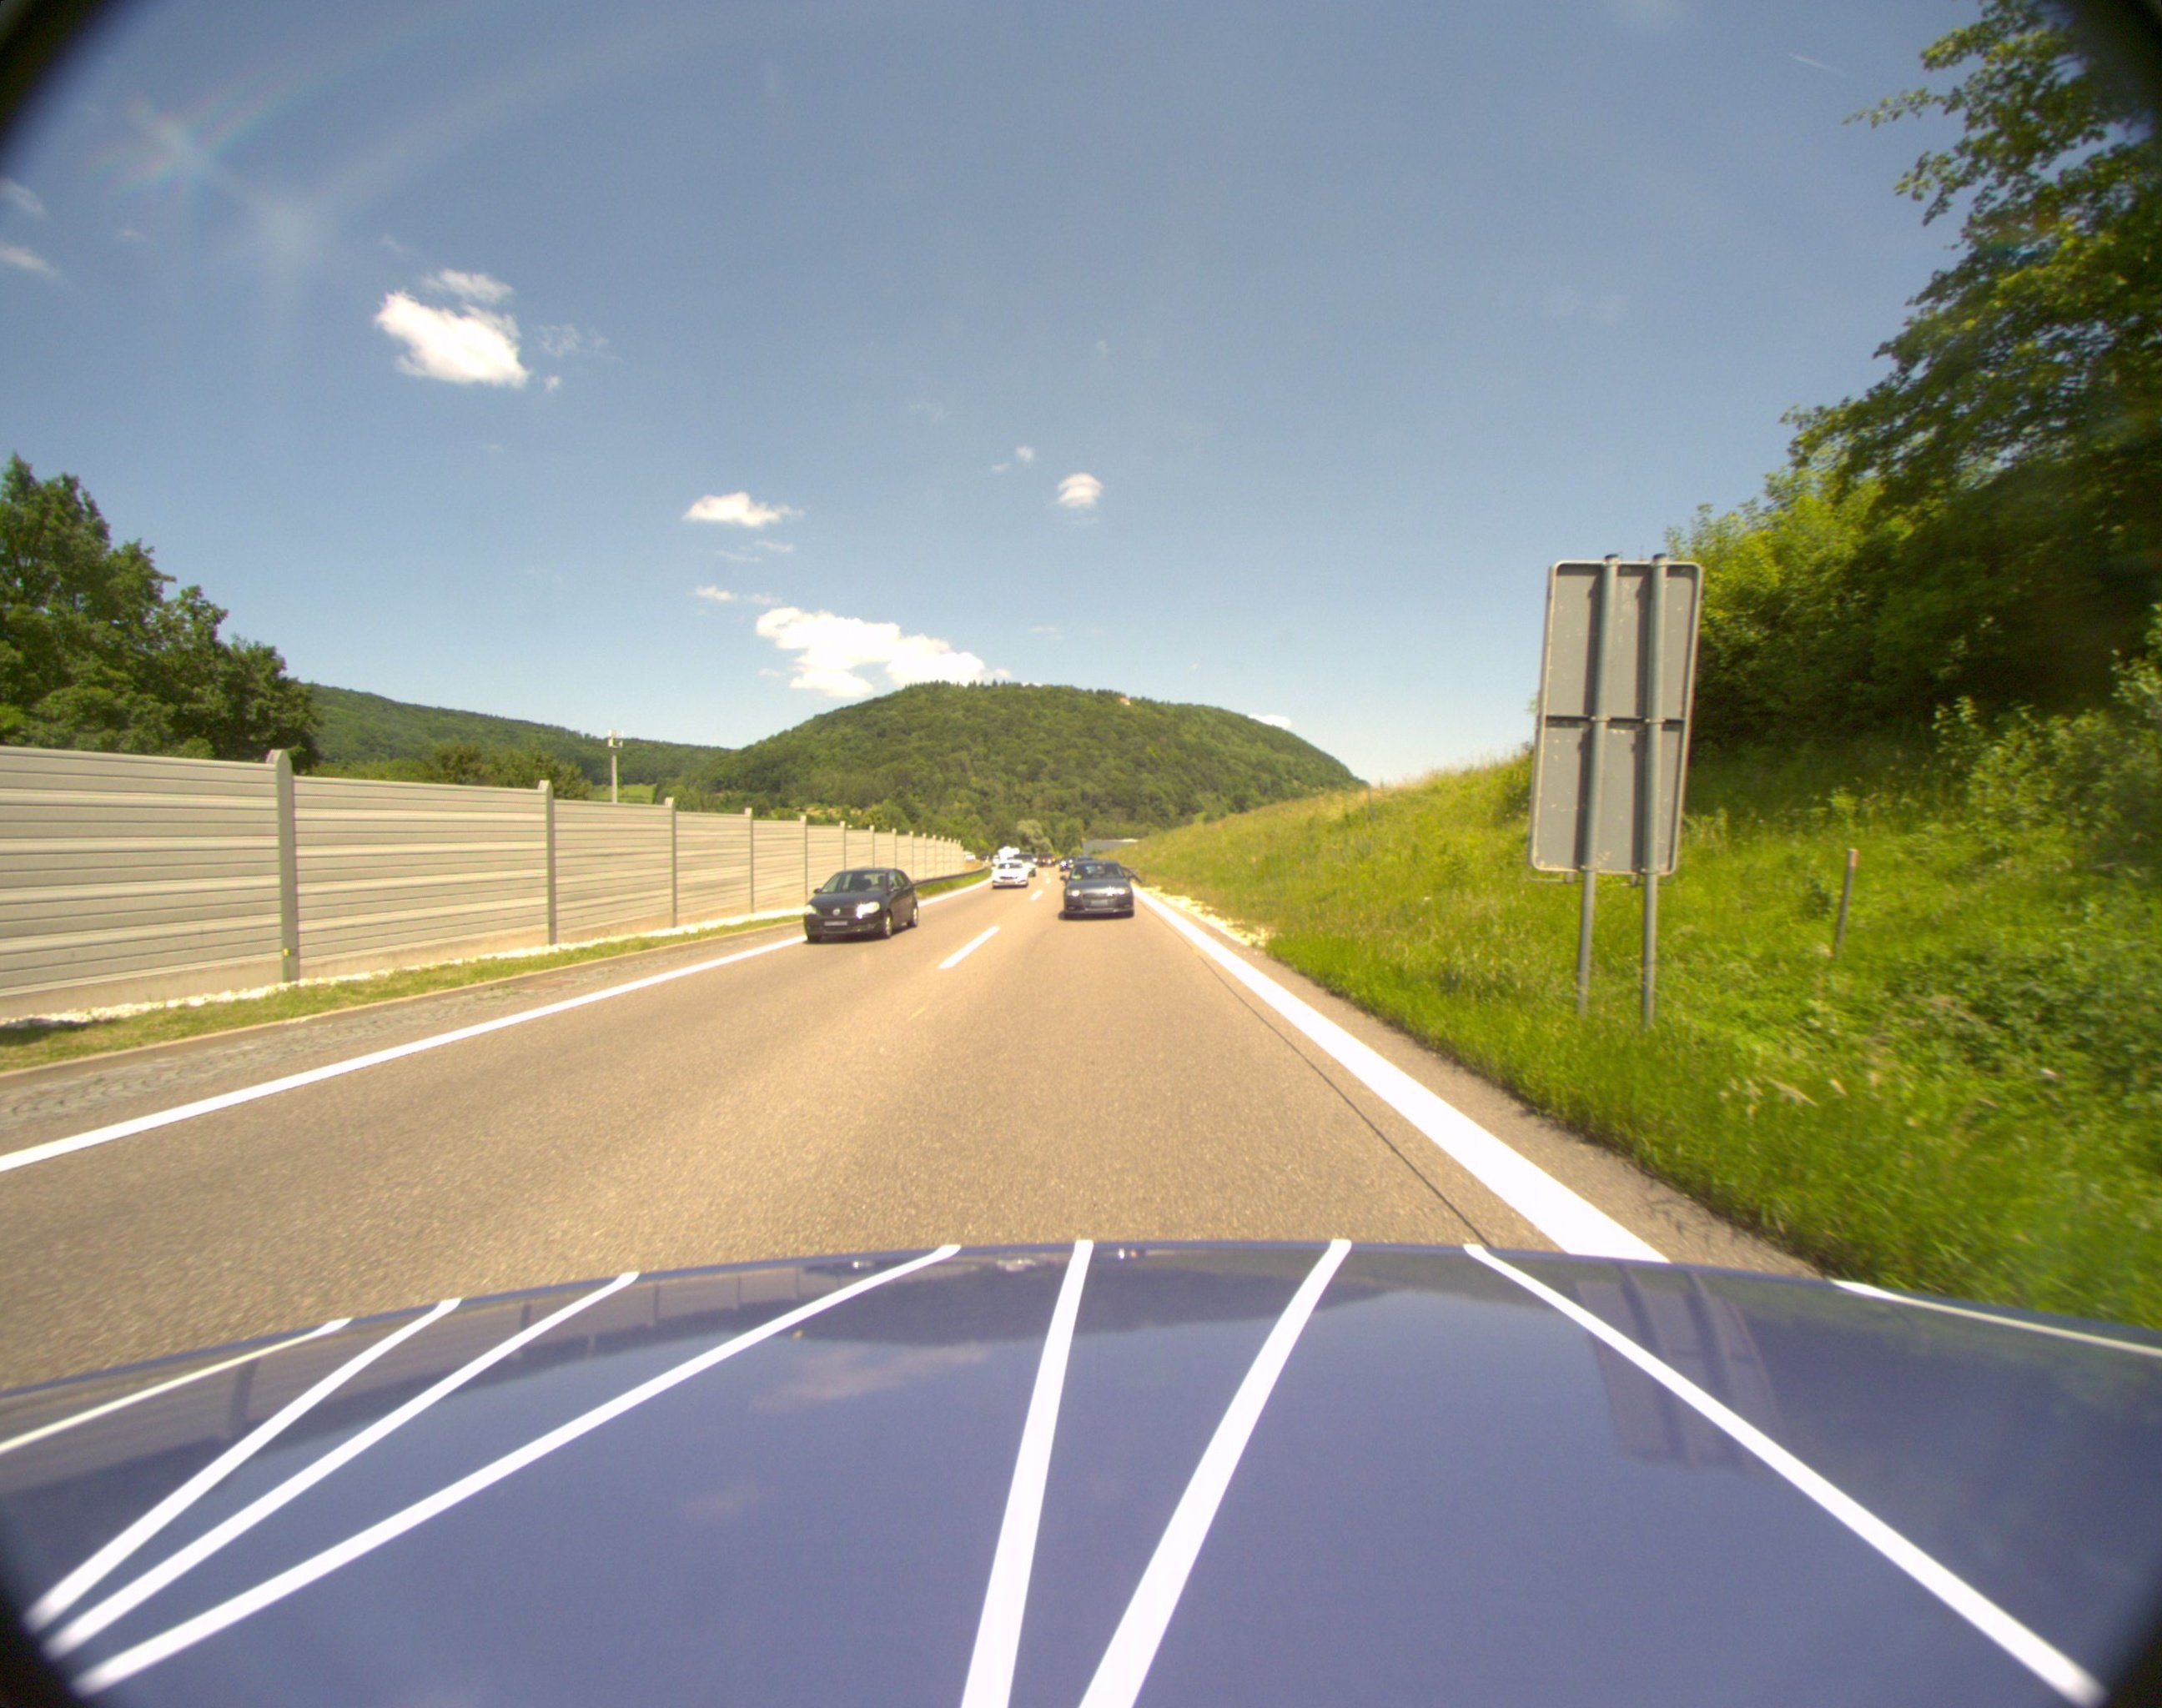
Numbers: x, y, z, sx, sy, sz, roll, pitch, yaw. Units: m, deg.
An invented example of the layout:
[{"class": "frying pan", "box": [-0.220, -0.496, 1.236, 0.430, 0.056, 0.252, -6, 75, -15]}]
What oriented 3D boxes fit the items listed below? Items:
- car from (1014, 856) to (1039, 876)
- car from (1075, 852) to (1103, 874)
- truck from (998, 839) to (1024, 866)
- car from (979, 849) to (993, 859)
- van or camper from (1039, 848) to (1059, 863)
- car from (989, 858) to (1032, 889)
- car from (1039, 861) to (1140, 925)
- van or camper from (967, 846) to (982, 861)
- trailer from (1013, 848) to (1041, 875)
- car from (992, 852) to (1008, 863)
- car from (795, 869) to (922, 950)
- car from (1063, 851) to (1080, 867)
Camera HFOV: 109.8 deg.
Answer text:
[{"class": "car", "box": [-4.062, 0.888, 57.475, 1.488, 1.375, 3.738, -2, 0, 1]}, {"class": "car", "box": [0.587, 0.611, 52.900, 1.695, 1.422, 3.463, -2, 0, 3]}, {"class": "truck", "box": [-8.999, -0.201, 96.832, 2.604, 3.089, 6.852, -5, 1, -8]}, {"class": "car", "box": [-20.164, 0.012, 161.442, 2.002, 2.002, 3.993, -3, 1, -20]}, {"class": "van or camper", "box": [-4.101, 0.174, 96.601, 1.819, 1.855, 3.609, -3, 1, -13]}, {"class": "car", "box": [-3.669, 0.987, 40.206, 1.907, 1.422, 3.721, -4, 0, -1]}, {"class": "car", "box": [0.101, 0.909, 19.547, 1.757, 1.382, 4.051, -3, 0, -11]}, {"class": "van or camper", "box": [-22.116, -0.119, 158.225, 1.912, 3.010, 4.866, -2, 1, -21]}, {"class": "trailer", "box": [-4.411, 0.574, 61.195, 1.999, 1.958, 3.997, -3, 1, -6]}, {"class": "car", "box": [-12.612, 0.509, 118.195, 1.700, 1.523, 3.674, -5, 1, -18]}, {"class": "car", "box": [-4.647, 1.096, 16.455, 1.696, 1.414, 3.837, -2, 0, -2]}, {"class": "car", "box": [-0.904, 0.441, 72.254, 1.286, 1.306, 3.453, -4, 1, 3]}]
